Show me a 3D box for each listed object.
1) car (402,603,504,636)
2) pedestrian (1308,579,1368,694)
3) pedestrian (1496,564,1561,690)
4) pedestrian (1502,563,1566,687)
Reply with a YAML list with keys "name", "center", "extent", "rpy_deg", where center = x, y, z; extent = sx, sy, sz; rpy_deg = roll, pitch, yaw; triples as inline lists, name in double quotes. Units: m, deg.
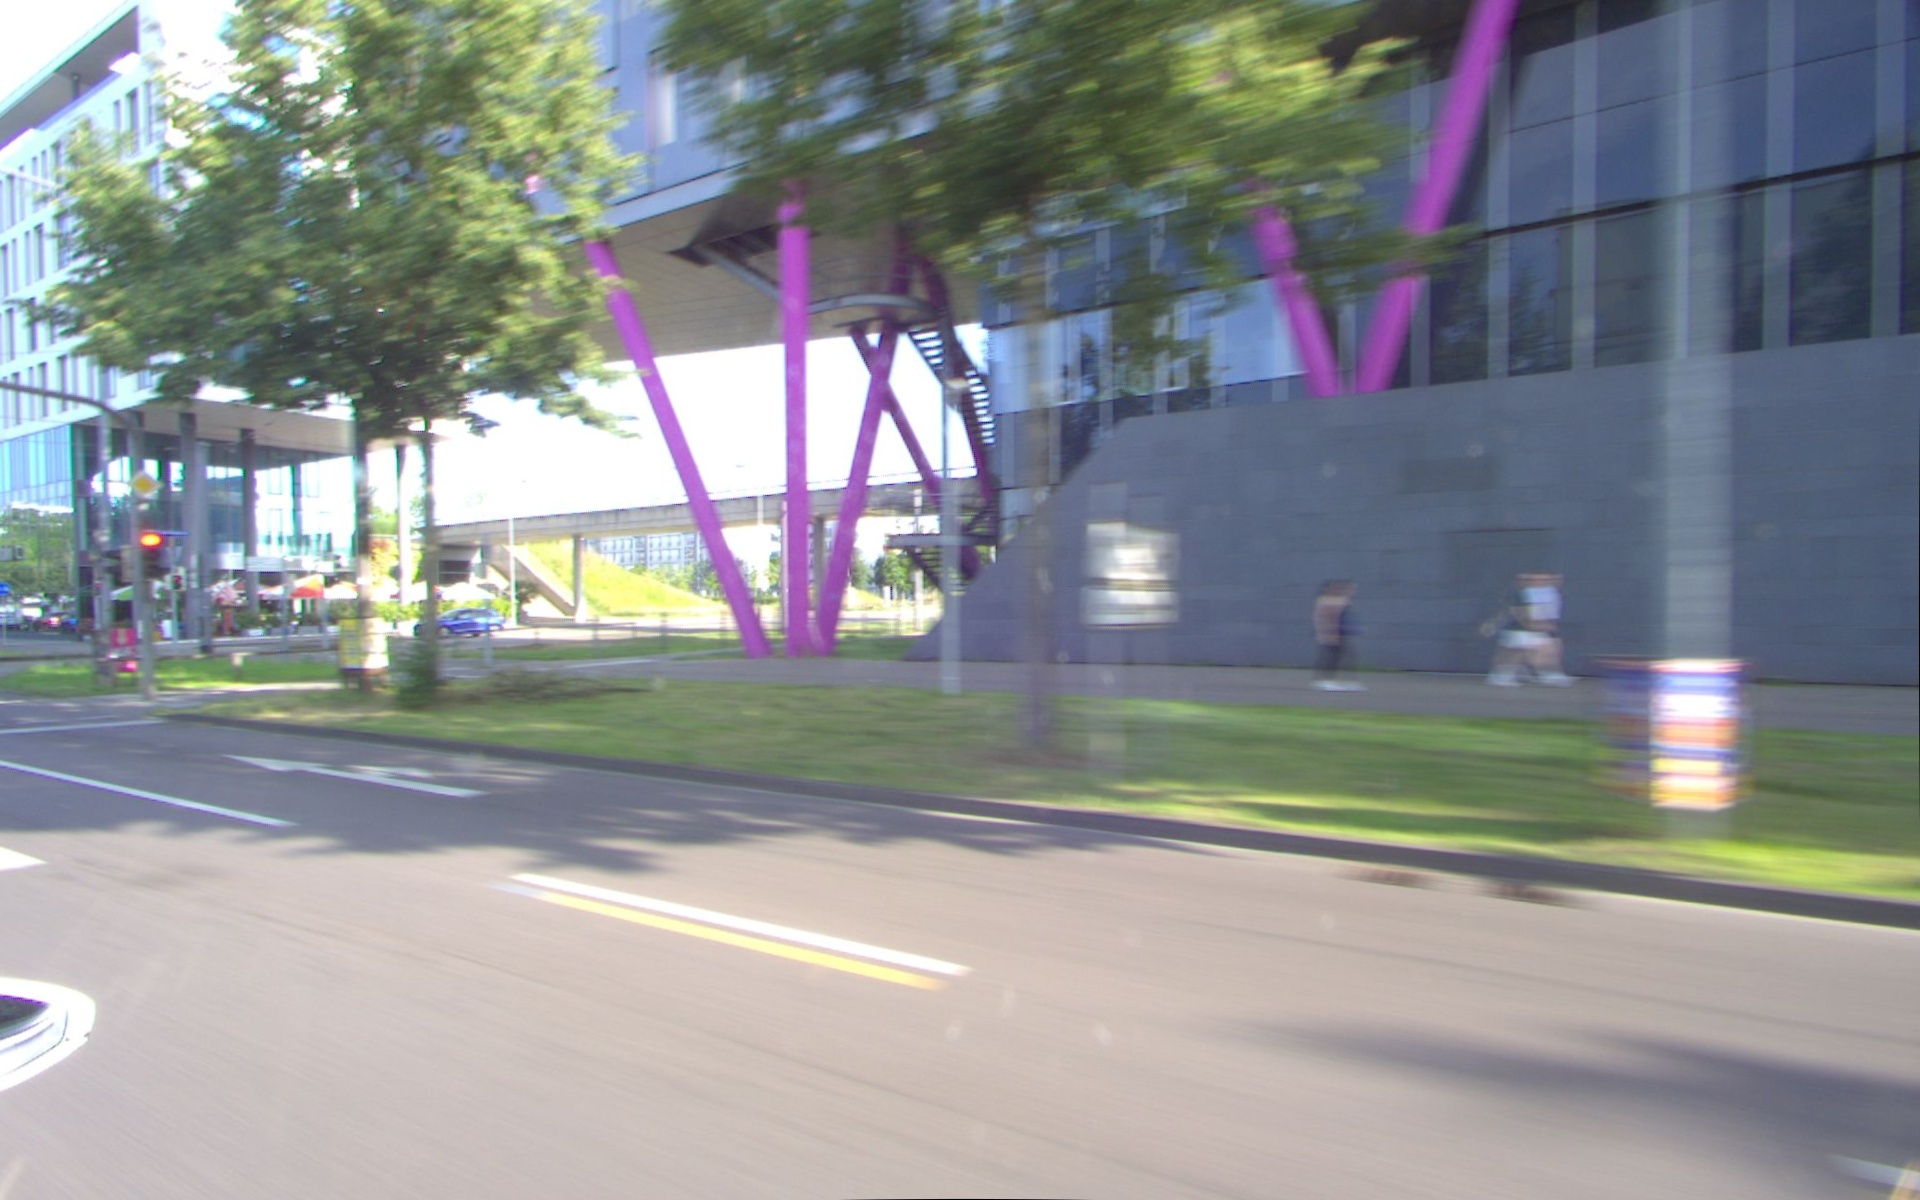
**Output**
- name: "car"
  center: [-25.010, 0.929, 49.546]
  extent: [1.831, 1.443, 4.176]
  rpy_deg: [0, 1, 31]
- name: "pedestrian"
  center: [5.663, 0.525, 14.991]
  extent: [0.726, 1.661, 0.692]
  rpy_deg: [0, 2, 31]
- name: "pedestrian"
  center: [8.541, 0.385, 15.046]
  extent: [0.831, 1.818, 0.752]
  rpy_deg: [0, 3, 31]
- name: "pedestrian"
  center: [8.919, 0.368, 15.563]
  extent: [0.840, 1.850, 0.766]
  rpy_deg: [0, 3, 31]
